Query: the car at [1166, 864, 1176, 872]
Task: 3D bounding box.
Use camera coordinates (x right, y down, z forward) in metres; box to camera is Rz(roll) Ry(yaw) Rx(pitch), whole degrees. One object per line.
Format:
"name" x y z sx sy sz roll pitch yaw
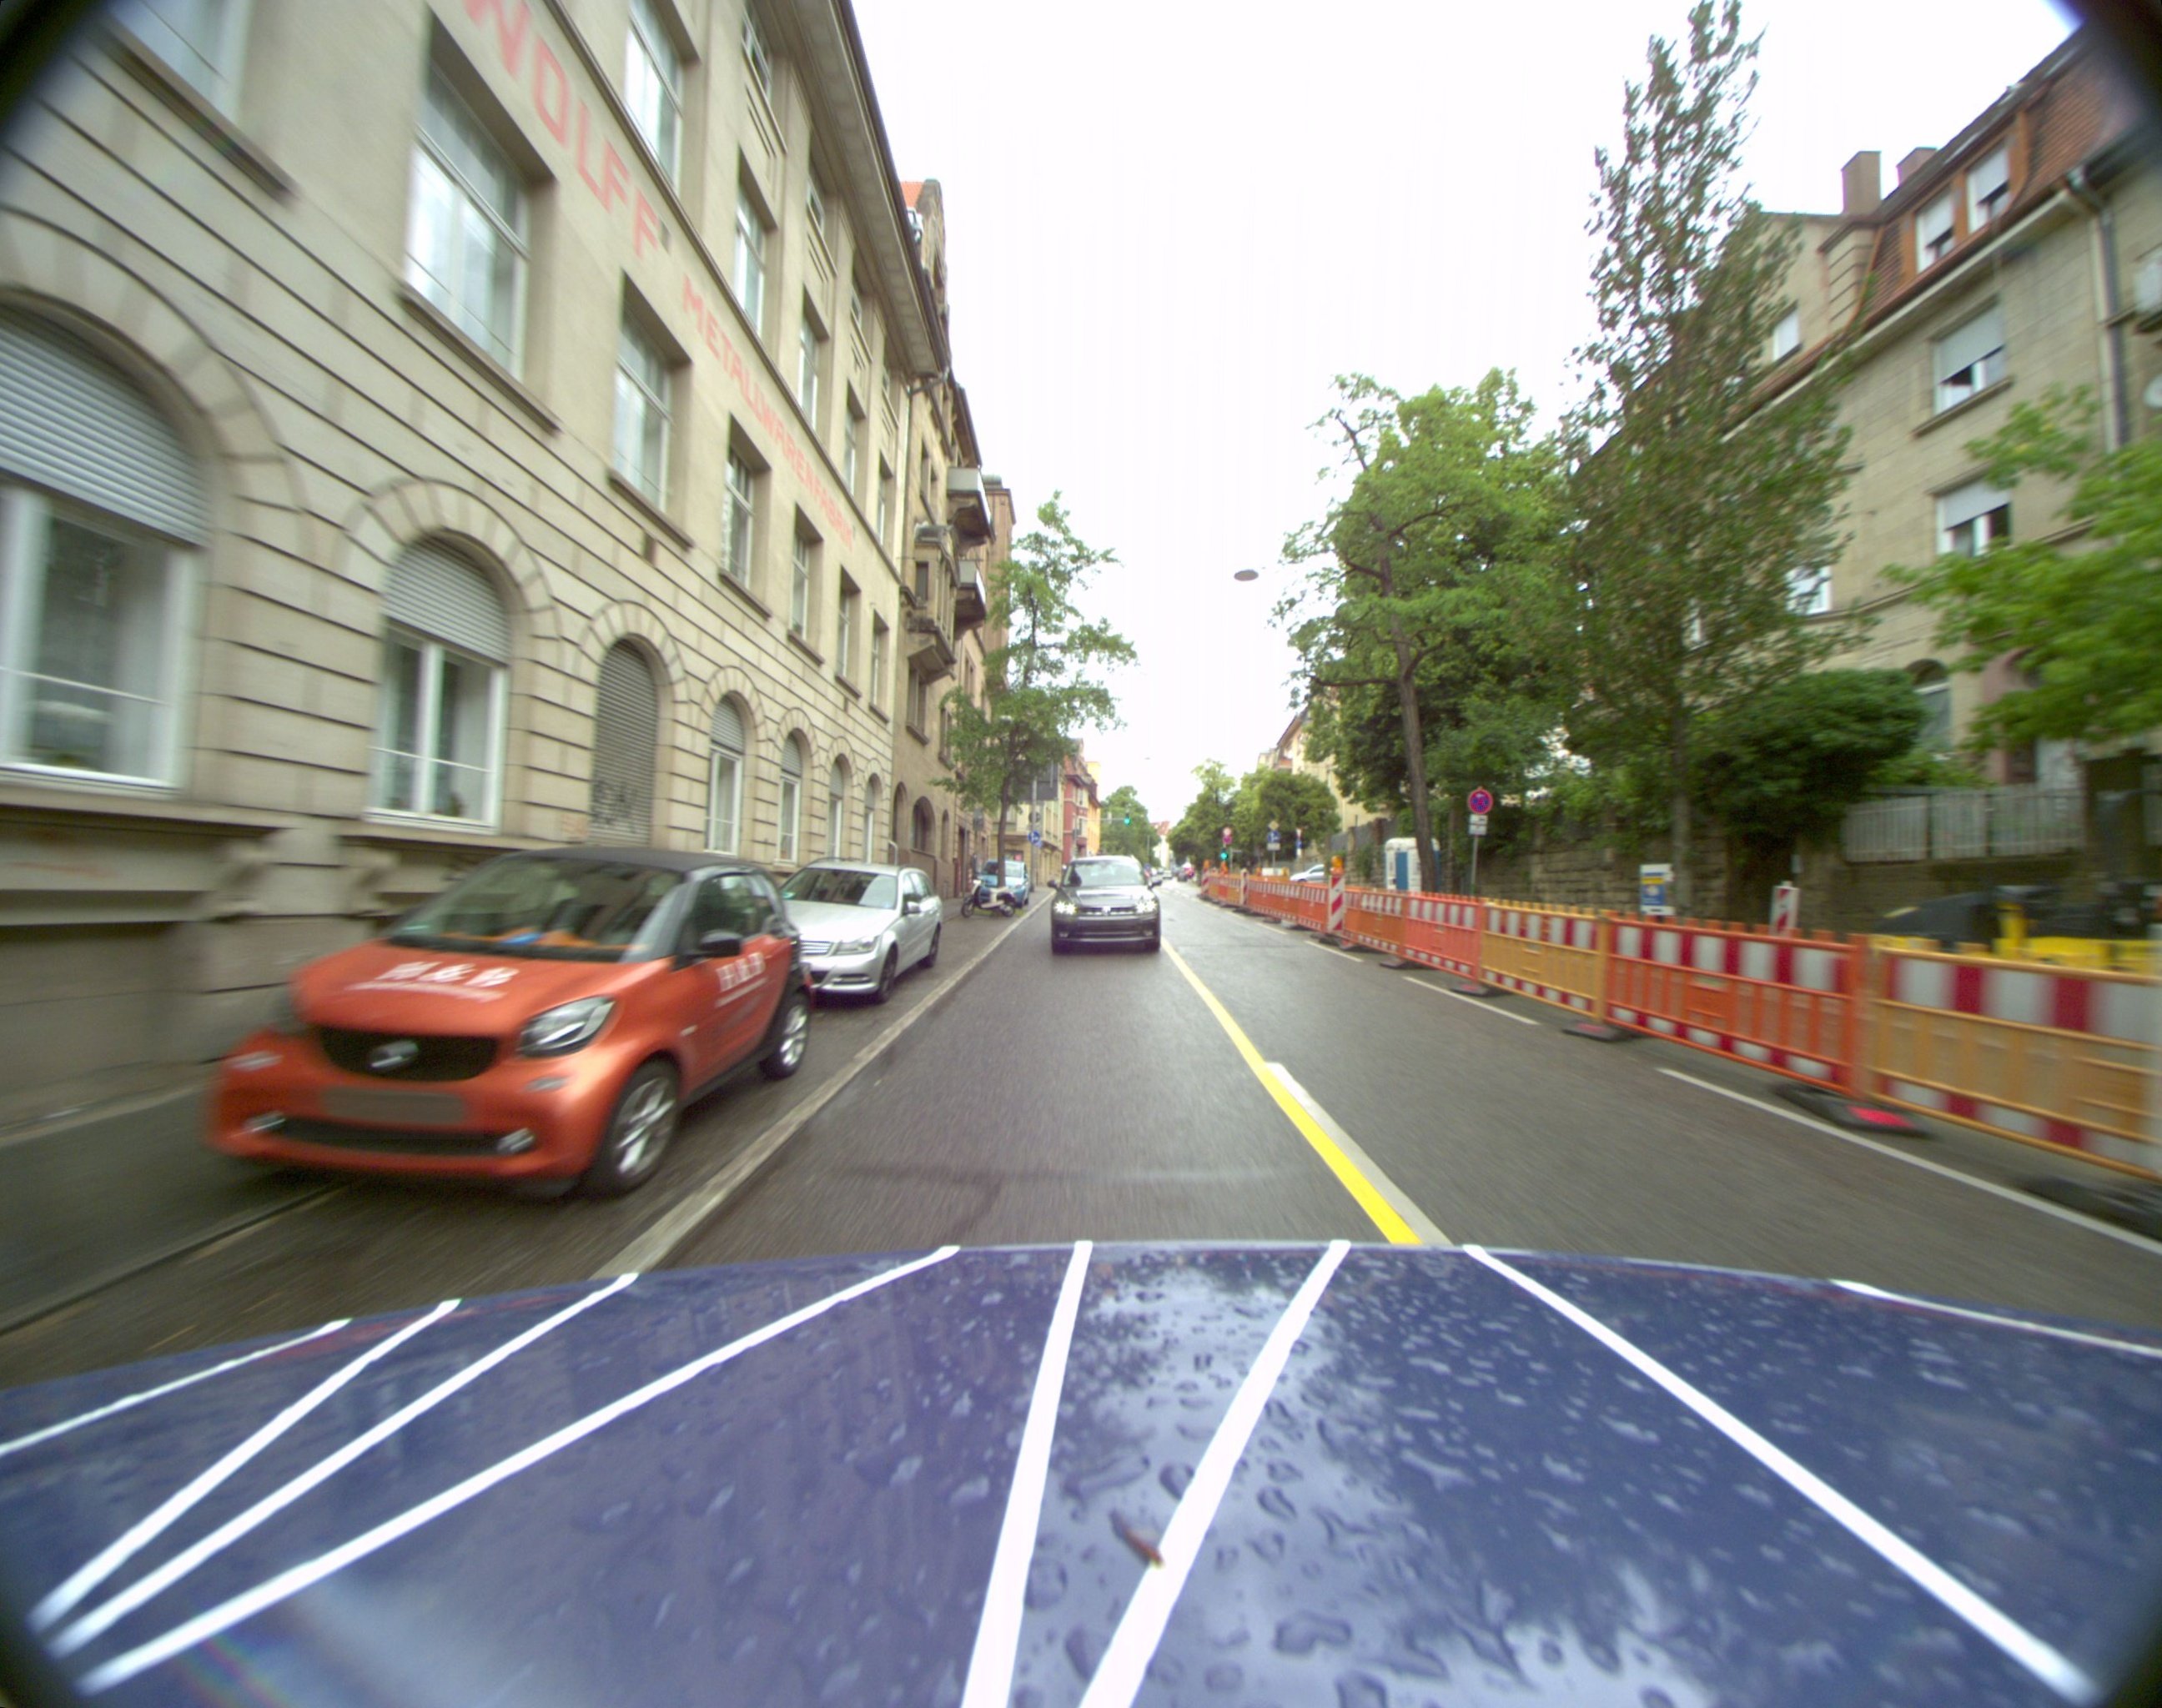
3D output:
"car" 17.785 2.771 149.803 1.775 1.508 4.103 1 0 10

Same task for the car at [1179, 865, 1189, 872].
"car" 23.424 3.385 172.724 1.714 1.471 4.119 3 0 13

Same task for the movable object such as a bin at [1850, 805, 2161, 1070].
"movable object such as a bin" 10.367 0.759 7.866 1.998 2.286 2.816 1 0 4

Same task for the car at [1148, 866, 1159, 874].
"car" 16.476 3.578 172.377 1.923 1.552 4.016 4 1 11

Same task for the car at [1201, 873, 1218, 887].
"car" 15.163 3.089 89.584 1.745 1.550 4.305 -1 -1 7

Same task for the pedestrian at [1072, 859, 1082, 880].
"pedestrian" -0.317 1.218 59.053 0.599 1.575 0.664 3 -1 -17

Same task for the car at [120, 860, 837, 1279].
"car" -2.811 0.841 4.498 1.642 1.511 3.183 3 0 0

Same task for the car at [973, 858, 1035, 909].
"car" -2.540 0.930 25.807 1.661 1.534 3.665 3 0 0

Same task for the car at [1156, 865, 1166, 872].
"car" 19.069 3.550 181.763 1.923 1.552 4.016 4 0 11

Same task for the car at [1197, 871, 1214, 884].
"car" 16.062 3.060 97.869 1.745 1.550 4.304 -2 -1 4

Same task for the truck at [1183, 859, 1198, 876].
"truck" 26.780 3.283 185.474 2.651 3.831 9.318 2 -1 13

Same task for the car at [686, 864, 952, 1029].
"car" -2.833 0.903 9.346 1.699 1.423 4.422 3 0 0

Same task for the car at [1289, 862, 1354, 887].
"car" 15.774 1.315 49.985 3.868 1.400 1.827 -3 1 12

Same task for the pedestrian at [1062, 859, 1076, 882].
"pedestrian" -0.906 1.274 58.157 0.722 1.763 0.664 4 -2 -32

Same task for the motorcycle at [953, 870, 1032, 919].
"motorcycle" -2.317 1.077 20.104 1.943 1.228 0.656 4 -2 -35

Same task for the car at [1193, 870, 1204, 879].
"car" 20.400 3.592 132.062 1.745 1.550 4.304 -1 -1 5

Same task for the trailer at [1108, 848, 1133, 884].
"trailer" 3.459 1.016 65.980 1.966 3.023 2.366 -1 -1 5

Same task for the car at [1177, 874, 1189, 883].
"car" 19.017 4.567 142.027 1.819 1.507 4.553 3 -4 5

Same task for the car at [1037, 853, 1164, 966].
"car" 0.394 0.880 13.842 1.859 1.641 5.197 0 -1 2
